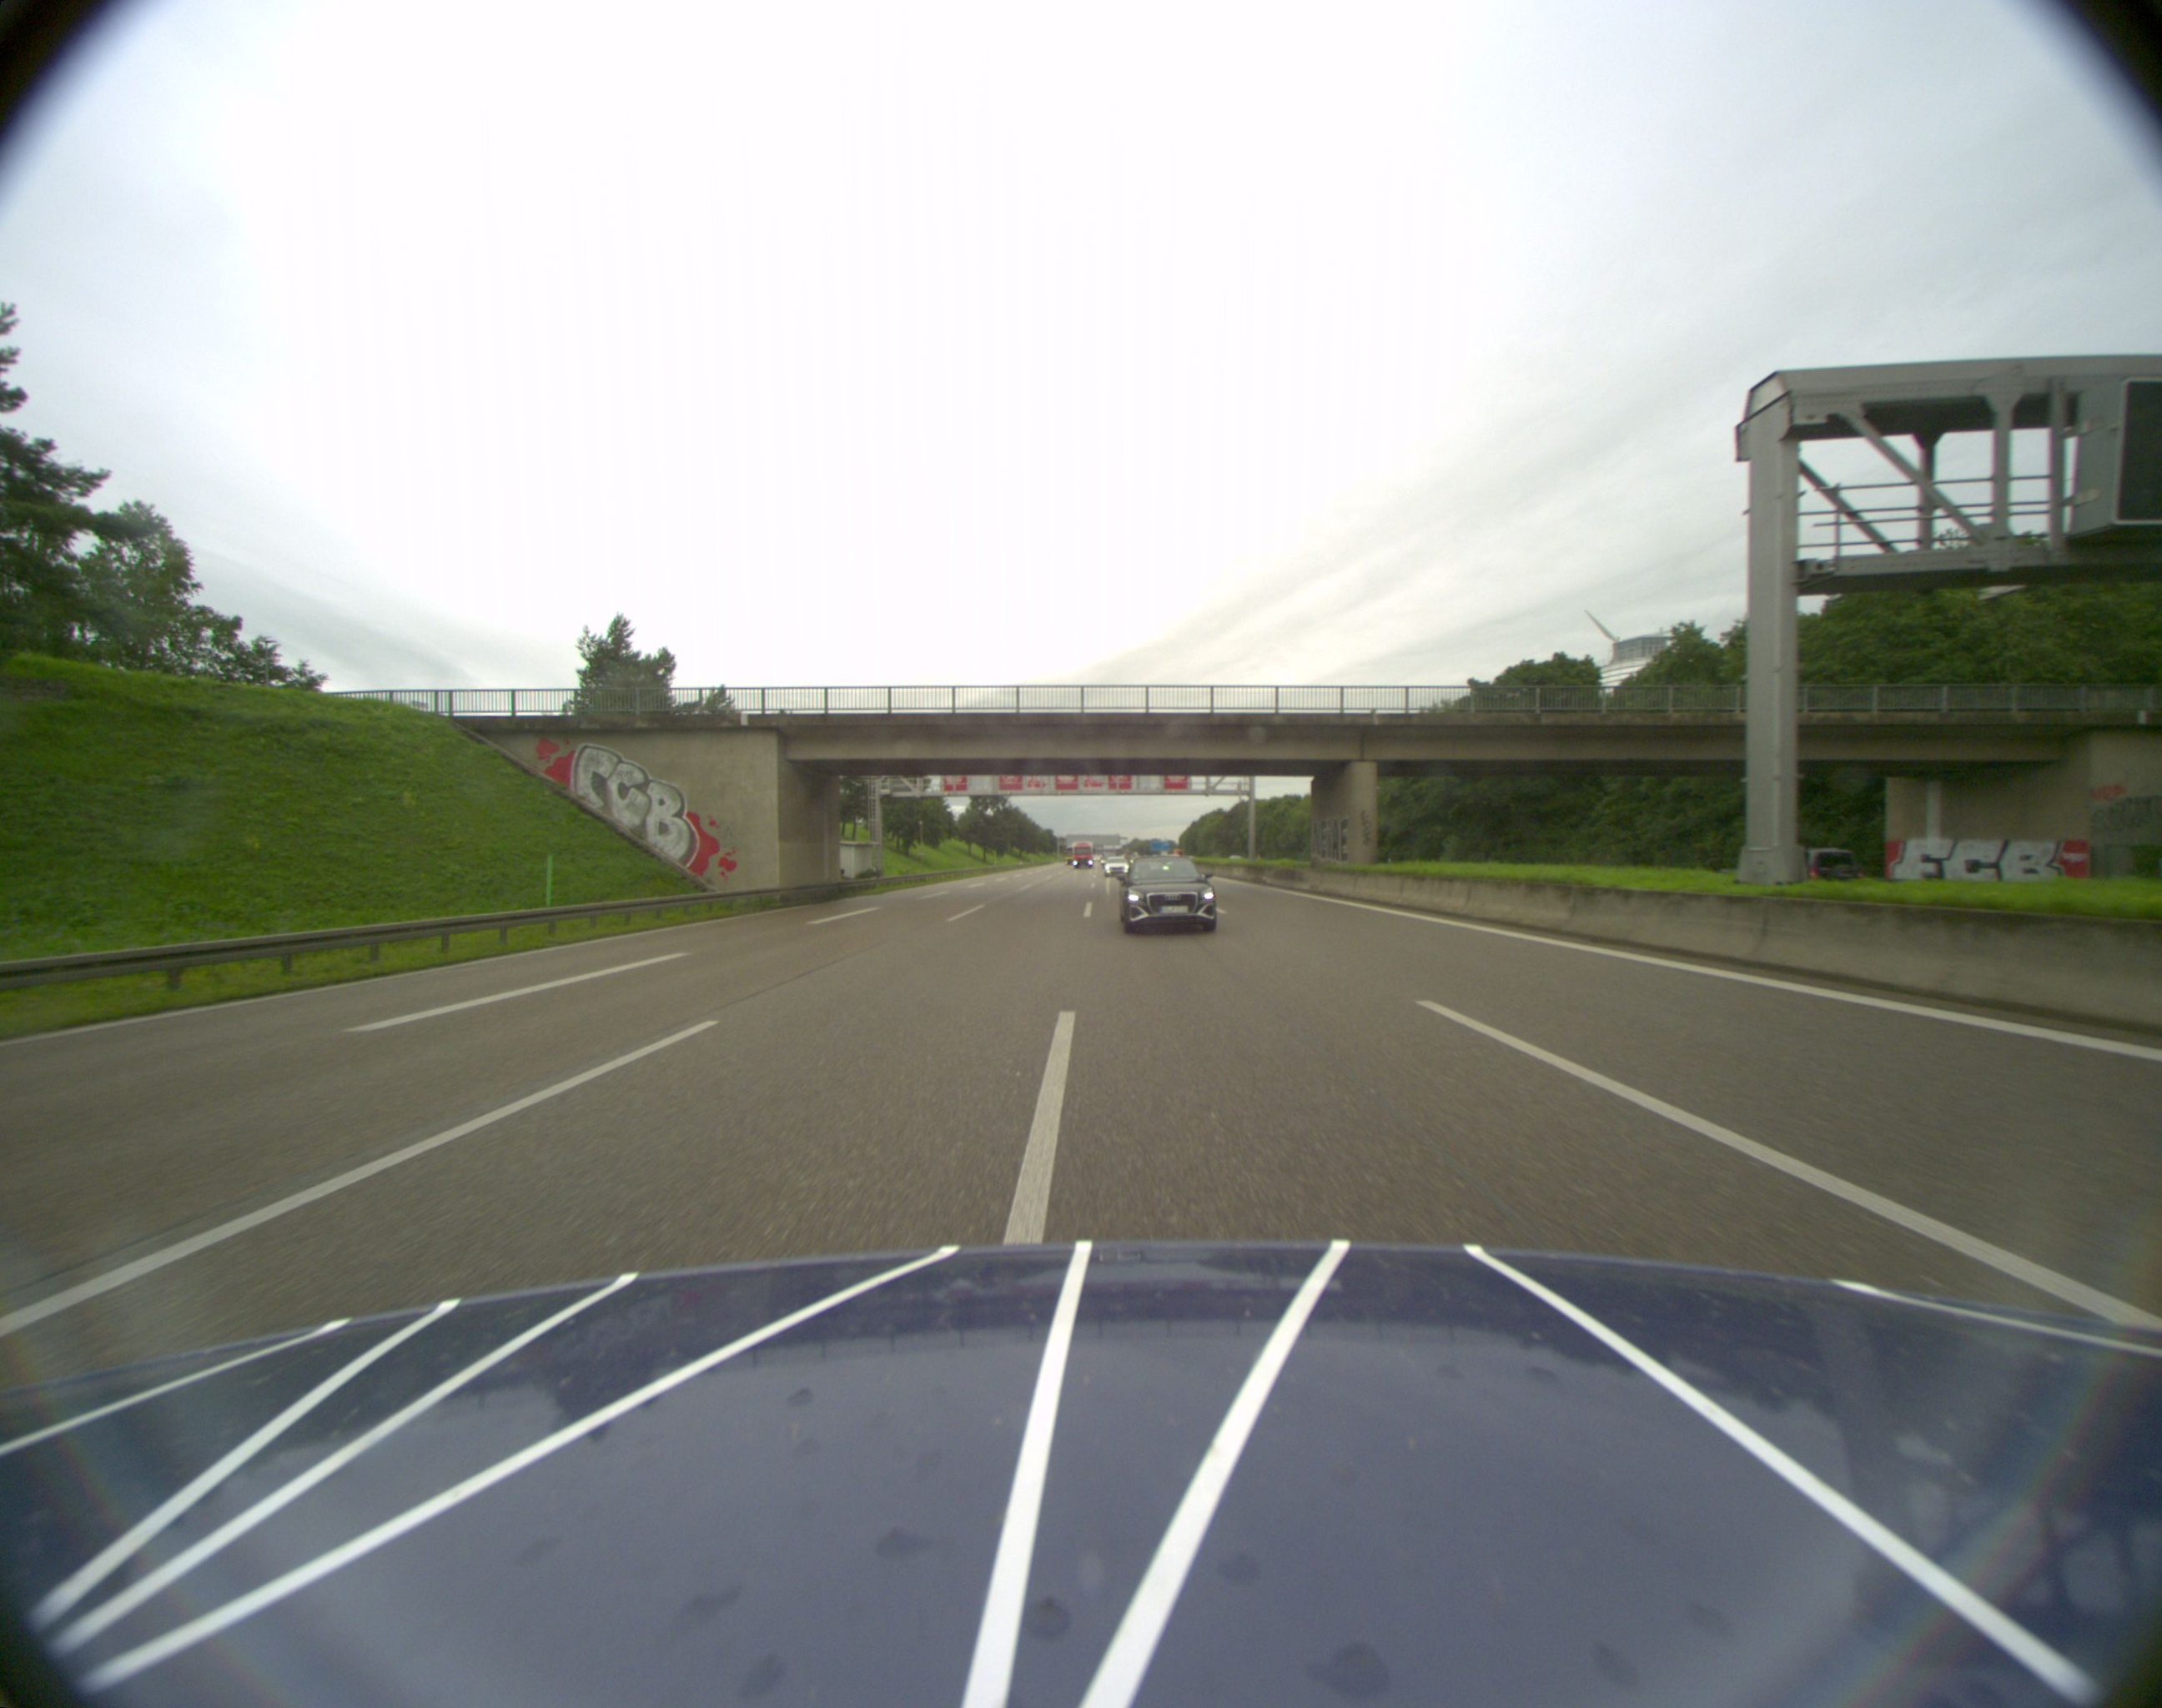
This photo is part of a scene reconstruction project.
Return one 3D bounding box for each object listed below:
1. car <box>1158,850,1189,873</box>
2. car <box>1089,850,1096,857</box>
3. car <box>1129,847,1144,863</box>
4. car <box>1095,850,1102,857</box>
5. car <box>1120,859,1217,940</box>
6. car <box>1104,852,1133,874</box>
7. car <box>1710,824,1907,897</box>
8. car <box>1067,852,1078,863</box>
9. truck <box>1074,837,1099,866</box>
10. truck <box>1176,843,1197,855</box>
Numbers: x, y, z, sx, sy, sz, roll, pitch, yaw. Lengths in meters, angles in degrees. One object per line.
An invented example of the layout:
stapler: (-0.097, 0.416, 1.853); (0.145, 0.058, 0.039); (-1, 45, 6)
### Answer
car: (6.742, 0.522, 55.546); (1.757, 1.608, 4.663); (-1, 0, 1)
car: (2.979, -0.145, 190.228); (1.690, 1.875, 3.741); (-2, 1, 2)
car: (7.419, 0.080, 101.832); (1.725, 2.002, 3.851); (-2, 1, 1)
car: (5.121, -0.164, 219.034); (1.998, 2.002, 3.999); (-2, 1, 1)
car: (1.702, 0.852, 15.705); (1.616, 1.403, 3.326); (-2, 1, 1)
car: (2.778, 0.622, 57.526); (1.998, 1.555, 4.910); (-2, 0, 1)
car: (21.240, 0.148, 22.453); (1.998, 1.928, 3.999); (-1, 1, 1)
car: (-1.646, 0.691, 157.056); (1.998, 2.002, 4.000); (-2, 1, 2)
truck: (0.884, -0.397, 103.814); (2.836, 3.634, 10.672); (-2, 1, 3)
truck: (31.603, -1.466, 228.563); (4.842, 3.404, 11.274); (-2, 1, 0)
